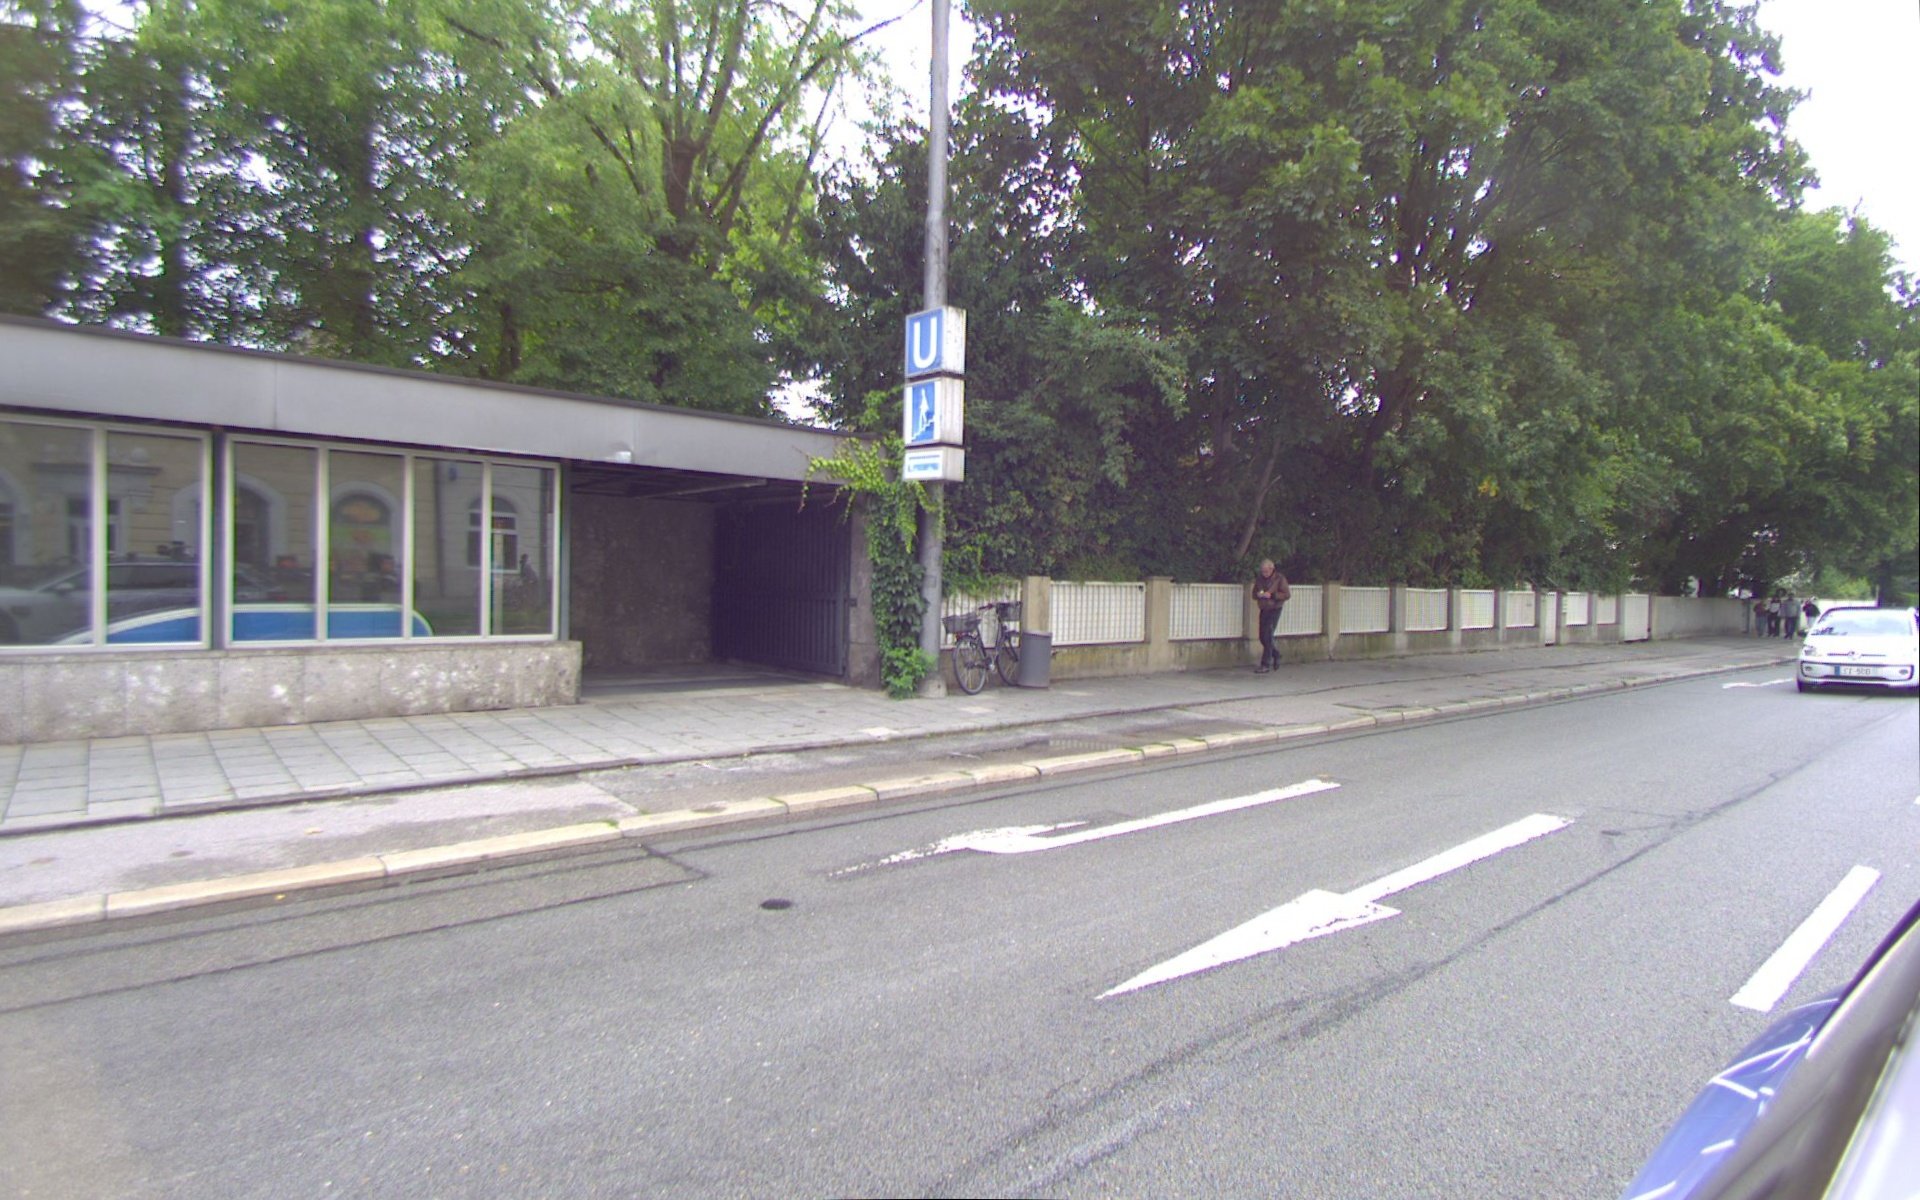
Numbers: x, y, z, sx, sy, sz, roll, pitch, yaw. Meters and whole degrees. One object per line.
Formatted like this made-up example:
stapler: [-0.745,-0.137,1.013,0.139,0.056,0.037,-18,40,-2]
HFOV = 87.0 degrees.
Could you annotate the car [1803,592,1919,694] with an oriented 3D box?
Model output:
car: [16.141,0.688,17.698,3.524,1.581,1.645,0,1,-42]

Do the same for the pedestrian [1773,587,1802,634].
pedestrian: [31.741,0.388,38.837,0.753,1.726,0.667,0,3,-42]

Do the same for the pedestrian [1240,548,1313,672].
pedestrian: [5.206,0.147,16.646,0.788,1.966,0.779,1,2,-40]

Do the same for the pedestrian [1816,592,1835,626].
pedestrian: [42.724,0.433,49.970,0.716,1.600,0.529,0,3,-42]

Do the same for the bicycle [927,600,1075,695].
bicycle: [0.552,0.567,12.859,1.991,1.104,0.623,0,1,-41]

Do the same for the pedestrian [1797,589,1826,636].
pedestrian: [32.175,0.473,38.249,0.716,1.713,0.667,0,3,-42]
